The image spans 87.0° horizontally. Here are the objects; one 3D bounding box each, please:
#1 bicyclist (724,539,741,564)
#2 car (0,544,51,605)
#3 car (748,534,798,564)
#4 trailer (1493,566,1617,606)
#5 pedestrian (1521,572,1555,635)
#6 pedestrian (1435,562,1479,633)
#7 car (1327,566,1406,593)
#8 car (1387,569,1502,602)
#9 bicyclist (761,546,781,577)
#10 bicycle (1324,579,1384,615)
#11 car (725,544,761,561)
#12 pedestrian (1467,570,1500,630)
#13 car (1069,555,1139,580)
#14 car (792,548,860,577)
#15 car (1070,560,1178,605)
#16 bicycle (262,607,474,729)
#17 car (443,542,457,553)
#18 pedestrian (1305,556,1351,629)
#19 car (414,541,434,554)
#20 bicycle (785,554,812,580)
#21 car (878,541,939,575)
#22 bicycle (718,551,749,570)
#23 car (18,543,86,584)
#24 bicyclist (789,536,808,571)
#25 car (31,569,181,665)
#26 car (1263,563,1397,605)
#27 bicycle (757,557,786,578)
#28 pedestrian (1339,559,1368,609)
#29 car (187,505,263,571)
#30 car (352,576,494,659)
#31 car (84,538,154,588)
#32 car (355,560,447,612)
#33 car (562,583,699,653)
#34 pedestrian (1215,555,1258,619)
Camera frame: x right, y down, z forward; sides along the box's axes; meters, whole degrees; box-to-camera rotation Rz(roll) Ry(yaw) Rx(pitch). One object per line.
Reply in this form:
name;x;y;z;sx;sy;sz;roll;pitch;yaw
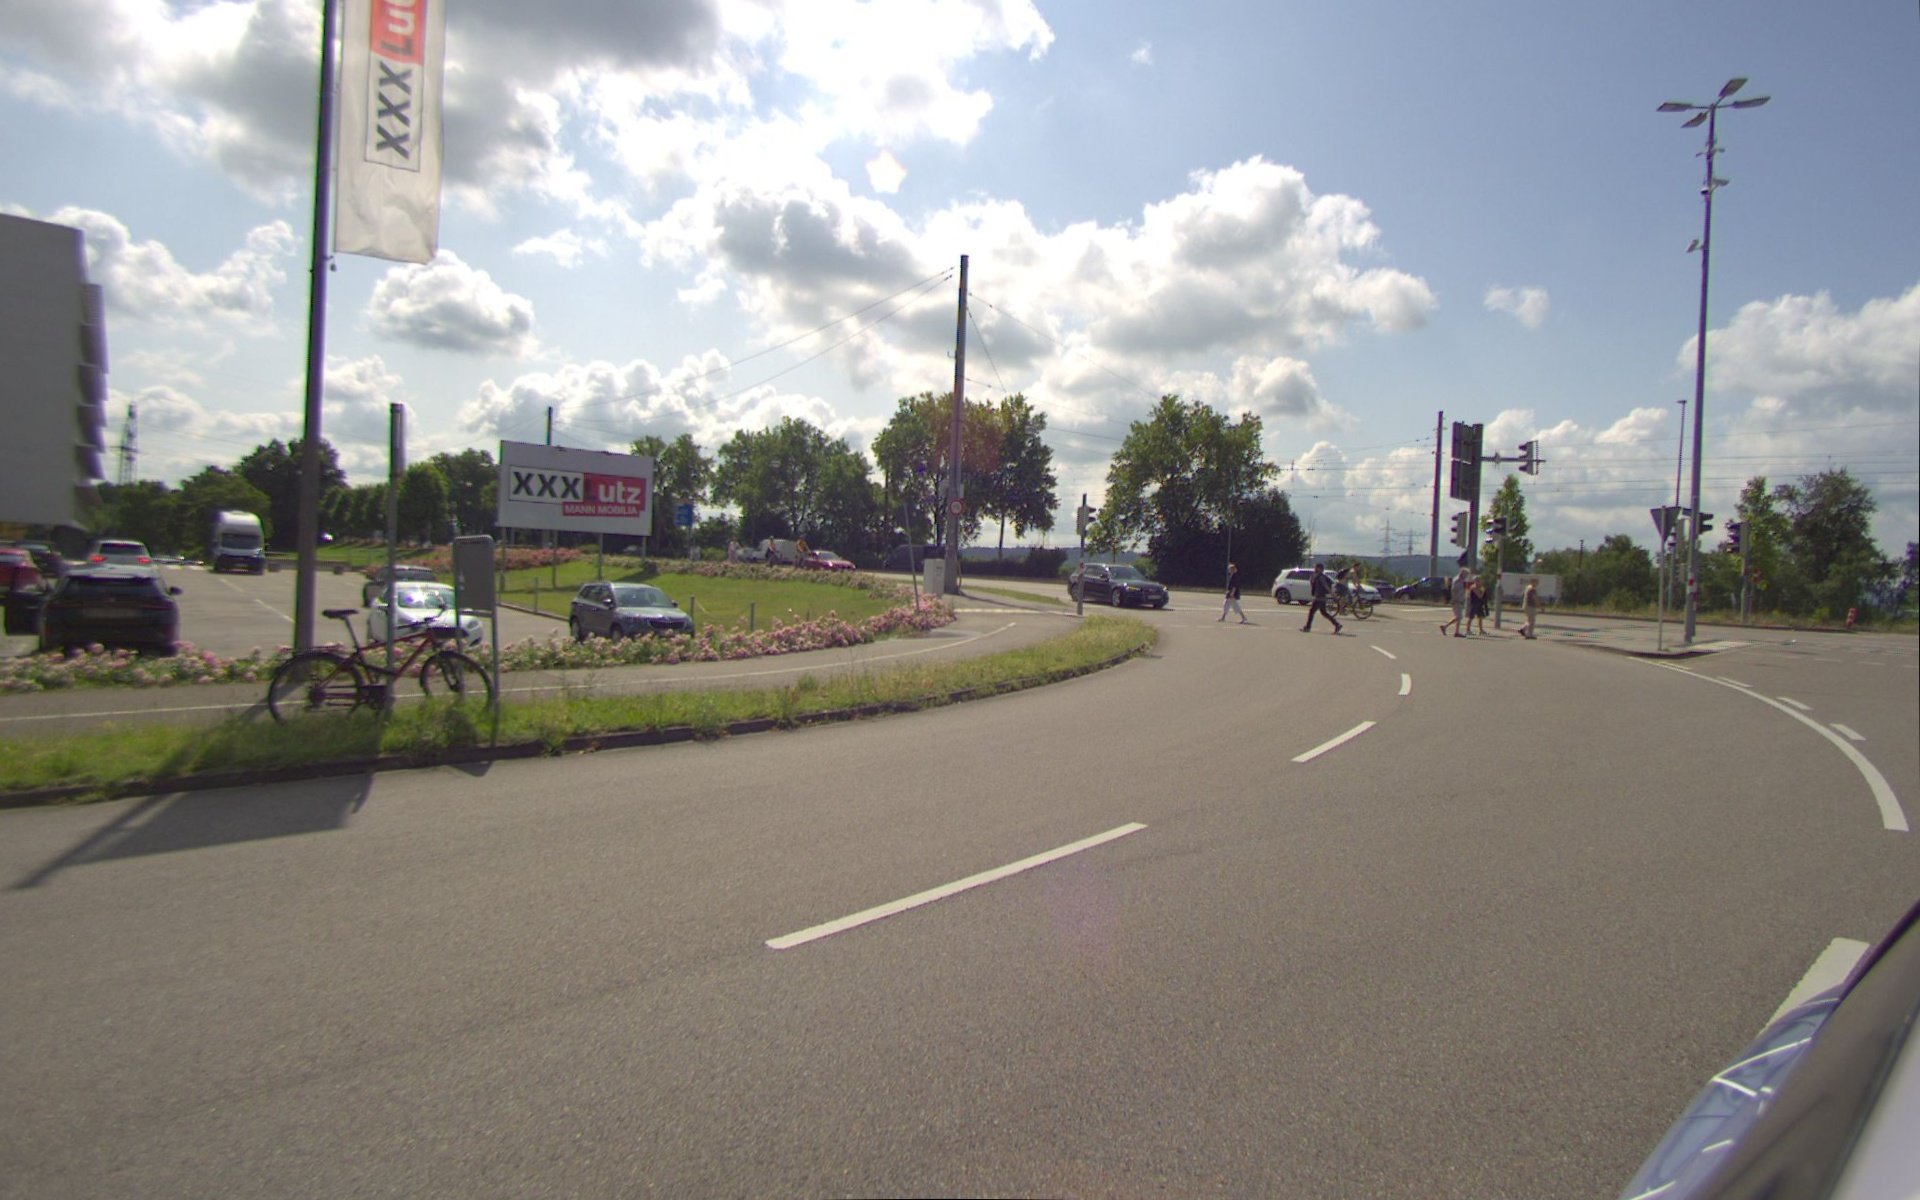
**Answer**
bicyclist;-12.133;-2.581;53.971;0.685;1.342;0.583;2;0;44
car;-26.627;-0.760;28.003;1.813;1.445;4.372;3;2;-38
car;-18.575;-5.074;100.275;5.576;2.522;1.928;6;2;44
trailer;30.083;-0.754;51.263;5.163;1.853;1.797;3;2;42
pedestrian;14.572;0.081;25.517;0.460;1.543;0.557;2;0;-31
pedestrian;12.627;-0.070;25.726;0.686;1.749;0.690;0;2;-29
car;24.593;-1.237;61.302;4.059;1.465;1.702;4;3;45
car;26.157;-0.790;54.763;5.232;1.594;1.969;2;0;42
bicyclist;-9.274;-1.894;49.742;0.639;1.494;0.742;2;0;-39
bicycle;12.388;-0.107;31.825;1.663;1.060;0.507;2;0;0
car;-23.824;-5.219;111.180;3.987;1.638;1.969;2;0;43
pedestrian;13.719;-0.013;26.532;0.460;1.543;0.586;1;1;-31
car;10.489;-2.369;73.899;4.764;1.527;1.937;4;0;41
car;-7.309;-2.045;54.892;1.717;1.377;4.247;0;3;-39
car;5.761;-0.662;36.125;1.876;1.501;4.211;1;2;-22
bicycle;-5.123;0.550;8.812;1.517;0.964;0.518;0;1;-41
car;-96.719;-9.939;191.941;1.635;1.883;3.589;2;0;-41
pedestrian;9.430;-0.187;25.944;0.744;1.825;0.823;1;1;-13
car;-107.119;-10.463;202.089;2.113;2.388;5.471;1;1;-43
bicycle;-7.566;-1.558;47.412;0.609;1.180;1.505;2;0;-35
car;-4.635;-3.753;89.812;1.960;2.637;5.662;5;0;-45
bicycle;-12.074;-2.109;53.888;1.982;0.973;0.587;2;0;44
car;-36.013;-1.424;40.147;1.887;1.459;3.992;1;0;-42
bicyclist;-7.564;-2.172;47.436;0.609;1.555;0.697;2;0;-36
car;-15.028;0.223;17.914;1.823;1.434;4.369;1;1;-39
car;14.401;-0.653;39.532;1.980;1.430;4.489;1;2;-43
bicycle;-9.275;-1.600;49.712;0.654;0.973;1.694;2;0;-39
pedestrian;12.369;-0.506;31.834;0.672;1.556;0.507;2;0;-1
car;-39.292;-3.243;54.078;3.064;3.193;7.904;0;2;-37
car;-11.265;0.296;21.078;1.764;1.457;4.369;1;1;-39
car;-30.835;-1.386;37.072;1.821;1.607;4.233;2;2;-42
car;-18.931;-0.493;34.176;2.011;1.426;4.372;3;2;-38
car;-7.984;0.372;24.310;1.686;1.435;3.994;0;2;-41
pedestrian;7.964;-0.375;29.161;0.848;1.787;0.865;1;1;-13
